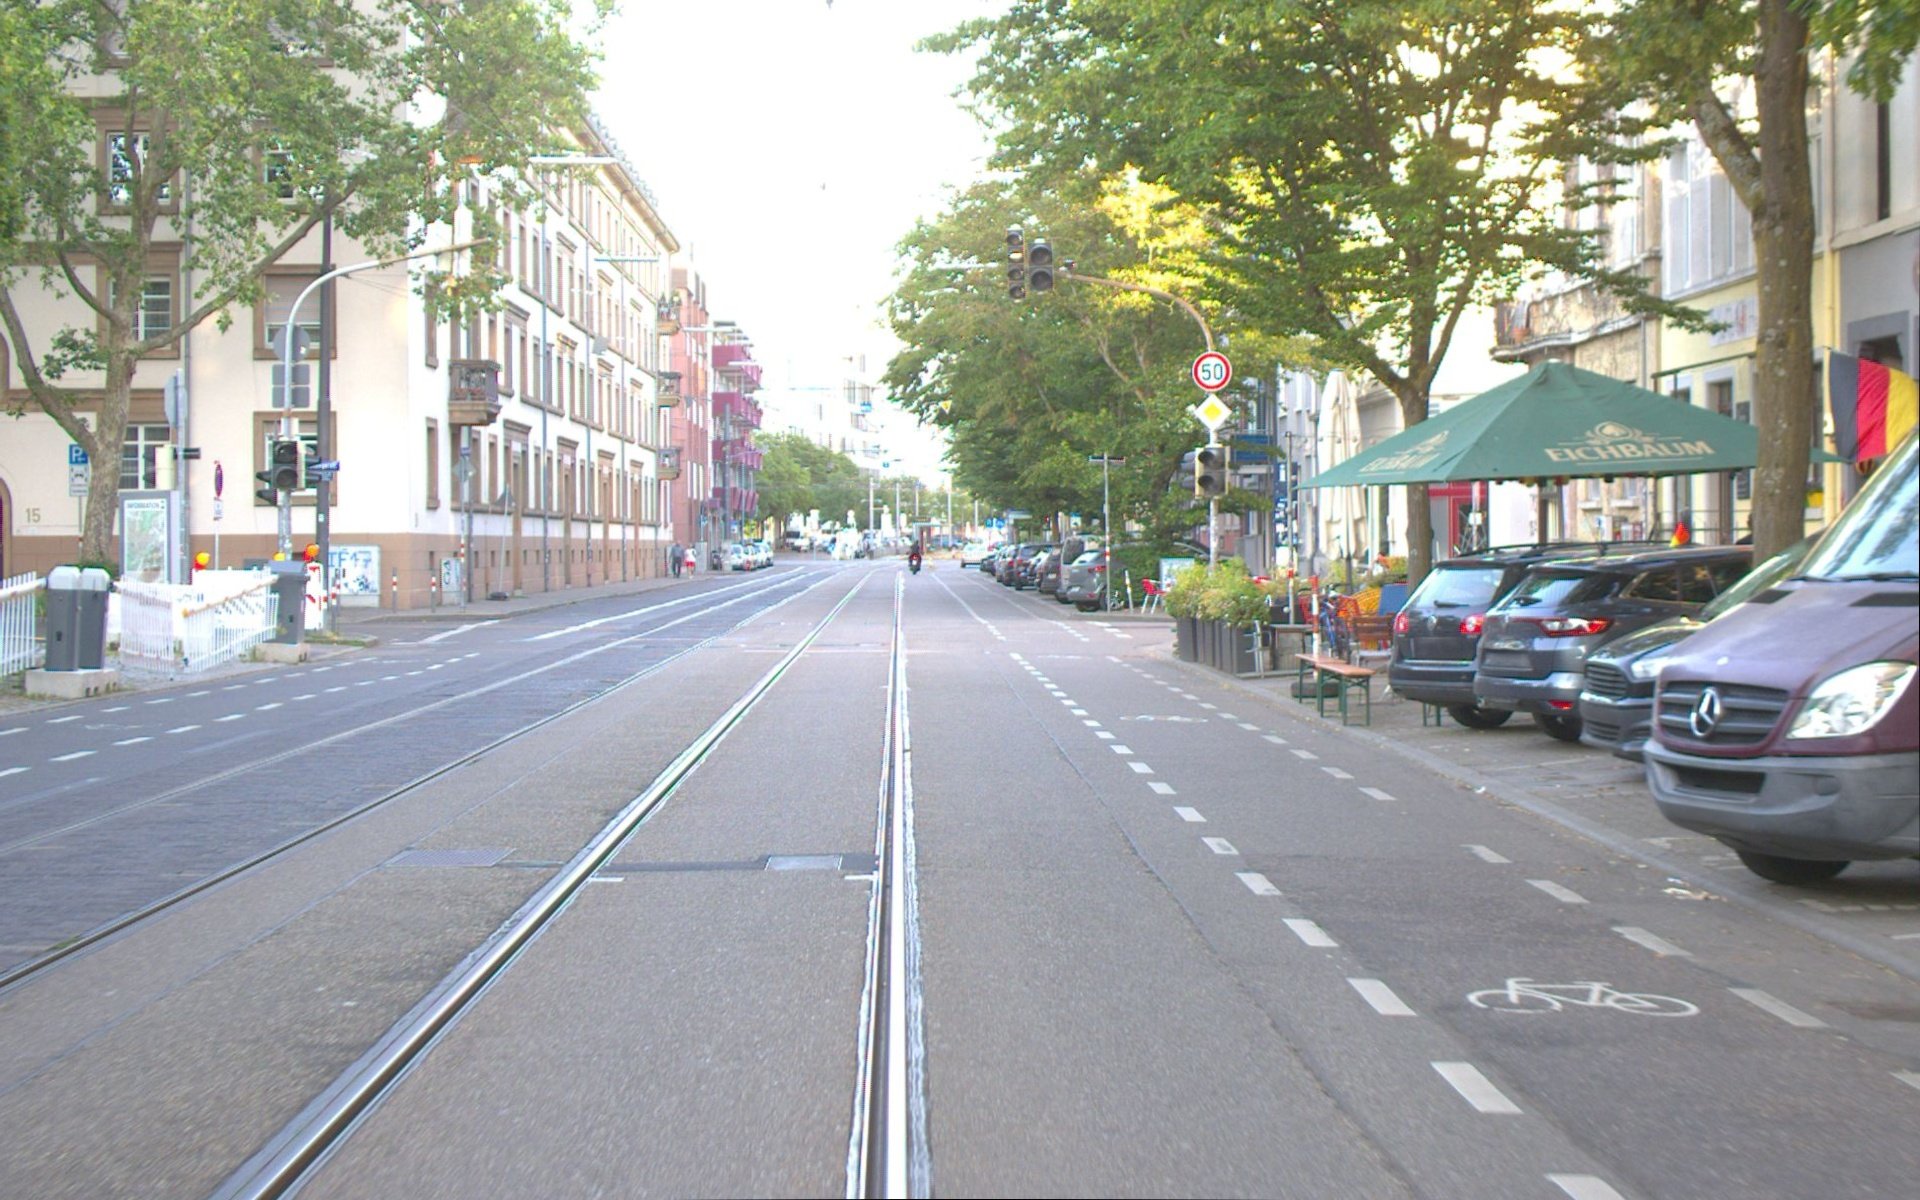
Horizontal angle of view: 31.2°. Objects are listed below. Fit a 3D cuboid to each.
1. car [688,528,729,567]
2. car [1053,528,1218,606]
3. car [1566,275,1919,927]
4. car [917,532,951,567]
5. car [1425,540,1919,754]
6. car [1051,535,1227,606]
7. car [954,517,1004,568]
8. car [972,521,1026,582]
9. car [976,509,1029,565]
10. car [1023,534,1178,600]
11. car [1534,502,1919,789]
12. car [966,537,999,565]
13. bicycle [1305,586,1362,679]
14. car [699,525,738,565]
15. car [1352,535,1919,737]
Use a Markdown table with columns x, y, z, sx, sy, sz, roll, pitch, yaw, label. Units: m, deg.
| x | y | z | sx | sy | sz | roll | pitch | yaw | label |
| --- | --- | --- | --- | --- | --- | --- | --- | --- | --- |
| -13.379 | -2.801 | 183.187 | 1.898 | 2.007 | 4.000 | 1 | 1 | -1 | car |
| 4.215 | -0.793 | 83.072 | 3.887 | 1.842 | 1.861 | 0 | 0 | 0 | car |
| 5.562 | -0.090 | 15.630 | 5.093 | 2.633 | 2.022 | -2 | 1 | -17 | car |
| -1.543 | -2.974 | 202.774 | 1.898 | 2.007 | 4.000 | 1 | 1 | -1 | car |
| 5.843 | 0.308 | 25.826 | 4.174 | 1.457 | 2.009 | -1 | 1 | -17 | car |
| 4.012 | -0.680 | 77.610 | 3.887 | 1.587 | 1.861 | 0 | 1 | 0 | car |
| 0.762 | -2.337 | 139.401 | 1.898 | 2.007 | 4.000 | 1 | 1 | -1 | car |
| 1.303 | -1.665 | 116.721 | 1.721 | 2.007 | 4.000 | 1 | 1 | -1 | car |
| 1.539 | -2.307 | 125.987 | 1.804 | 2.007 | 4.000 | 1 | 1 | -1 | car |
| 3.561 | -0.844 | 87.668 | 3.887 | 1.655 | 1.861 | 0 | 0 | 0 | car |
| 5.846 | 0.248 | 21.731 | 4.011 | 1.702 | 1.818 | -1 | 0 | -7 | car |
| 1.409 | -3.037 | 214.152 | 1.963 | 1.713 | 4.000 | 1 | 1 | -1 | car |
| 4.255 | 0.358 | 39.226 | 0.418 | 1.012 | 1.830 | 1 | 1 | -1 | bicycle |
| -13.194 | -2.998 | 187.832 | 1.898 | 2.171 | 4.000 | 1 | 1 | -1 | car |
| 5.564 | 0.263 | 28.318 | 4.174 | 1.493 | 2.009 | -1 | 1 | -25 | car |
